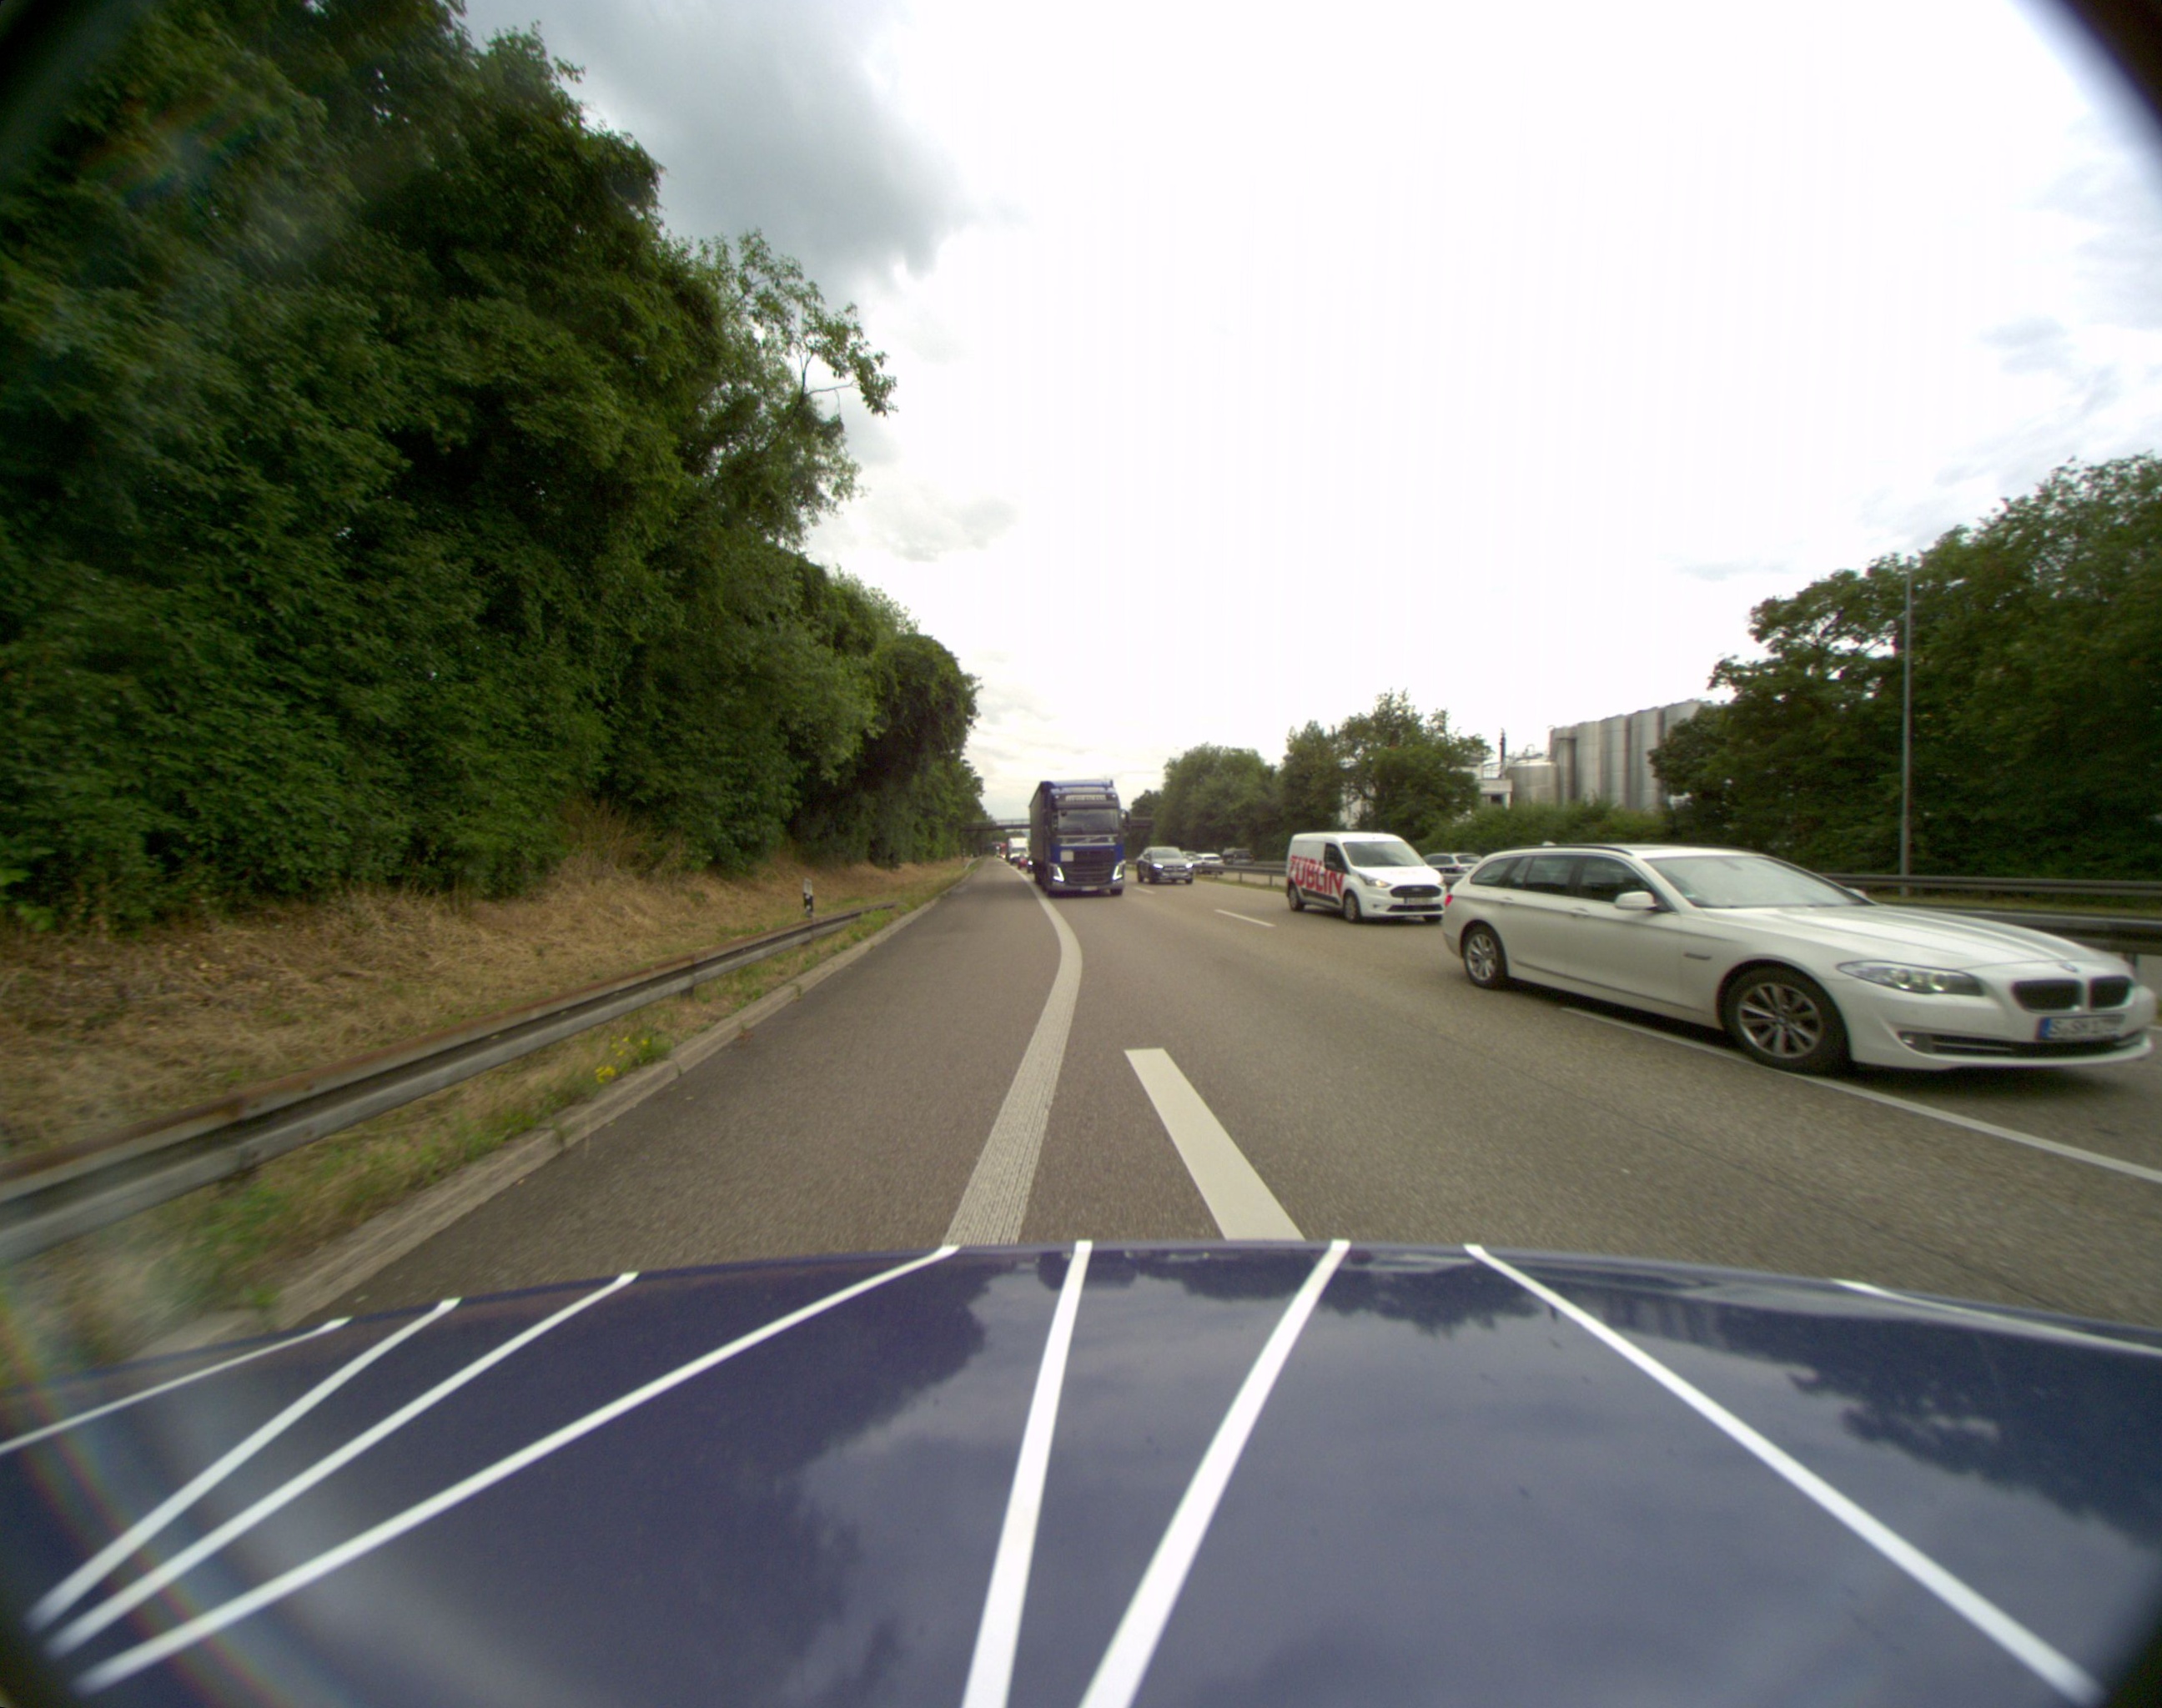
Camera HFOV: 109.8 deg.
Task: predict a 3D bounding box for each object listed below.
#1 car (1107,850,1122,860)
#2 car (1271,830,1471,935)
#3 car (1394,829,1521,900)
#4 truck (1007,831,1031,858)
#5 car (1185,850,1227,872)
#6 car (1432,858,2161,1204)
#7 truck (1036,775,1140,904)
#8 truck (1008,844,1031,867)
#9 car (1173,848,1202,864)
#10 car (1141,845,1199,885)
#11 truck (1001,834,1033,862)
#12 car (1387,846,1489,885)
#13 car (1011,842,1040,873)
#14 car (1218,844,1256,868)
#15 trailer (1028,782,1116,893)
[{"bbox_3d":[4.682,0.135,105.877,1.610,1.447,3.998,0,0,-5],"label":"car"},{"bbox_3d":[5.757,0.490,15.898,1.852,1.839,5.004,0,0,-6],"label":"car"},{"bbox_3d":[11.468,0.270,23.469,1.574,2.002,3.997,0,1,-7],"label":"car"},{"bbox_3d":[-9.936,-1.569,120.871,3.367,4.041,10.176,-2,1,-7],"label":"truck"},{"bbox_3d":[8.933,0.478,54.766,1.865,1.518,4.397,0,1,-6],"label":"car"},{"bbox_3d":[5.172,0.798,6.034,2.064,1.455,5.256,0,0,-4],"label":"car"},{"bbox_3d":[0.015,-0.482,27.329,2.962,3.946,7.466,-1,1,-5],"label":"truck"},{"bbox_3d":[-5.481,0.124,67.970,1.894,2.002,6.088,0,0,-3],"label":"truck"},{"bbox_3d":[11.092,0.187,79.270,1.732,1.624,4.760,-2,1,-8],"label":"car"},{"bbox_3d":[3.841,0.440,33.438,1.849,1.642,3.998,0,0,-3],"label":"car"},{"bbox_3d":[-7.687,-0.702,90.152,3.367,3.099,7.234,-2,1,-8],"label":"truck"},{"bbox_3d":[15.395,0.447,33.148,1.699,1.582,5.275,0,0,-4],"label":"car"},{"bbox_3d":[-3.818,0.203,51.995,1.752,2.002,3.997,-1,1,-8],"label":"car"},{"bbox_3d":[12.092,0.124,59.077,1.579,1.756,4.275,0,1,-8],"label":"car"},{"bbox_3d":[-0.763,-0.697,34.605,2.846,4.013,13.077,-2,1,-5],"label":"trailer"}]
